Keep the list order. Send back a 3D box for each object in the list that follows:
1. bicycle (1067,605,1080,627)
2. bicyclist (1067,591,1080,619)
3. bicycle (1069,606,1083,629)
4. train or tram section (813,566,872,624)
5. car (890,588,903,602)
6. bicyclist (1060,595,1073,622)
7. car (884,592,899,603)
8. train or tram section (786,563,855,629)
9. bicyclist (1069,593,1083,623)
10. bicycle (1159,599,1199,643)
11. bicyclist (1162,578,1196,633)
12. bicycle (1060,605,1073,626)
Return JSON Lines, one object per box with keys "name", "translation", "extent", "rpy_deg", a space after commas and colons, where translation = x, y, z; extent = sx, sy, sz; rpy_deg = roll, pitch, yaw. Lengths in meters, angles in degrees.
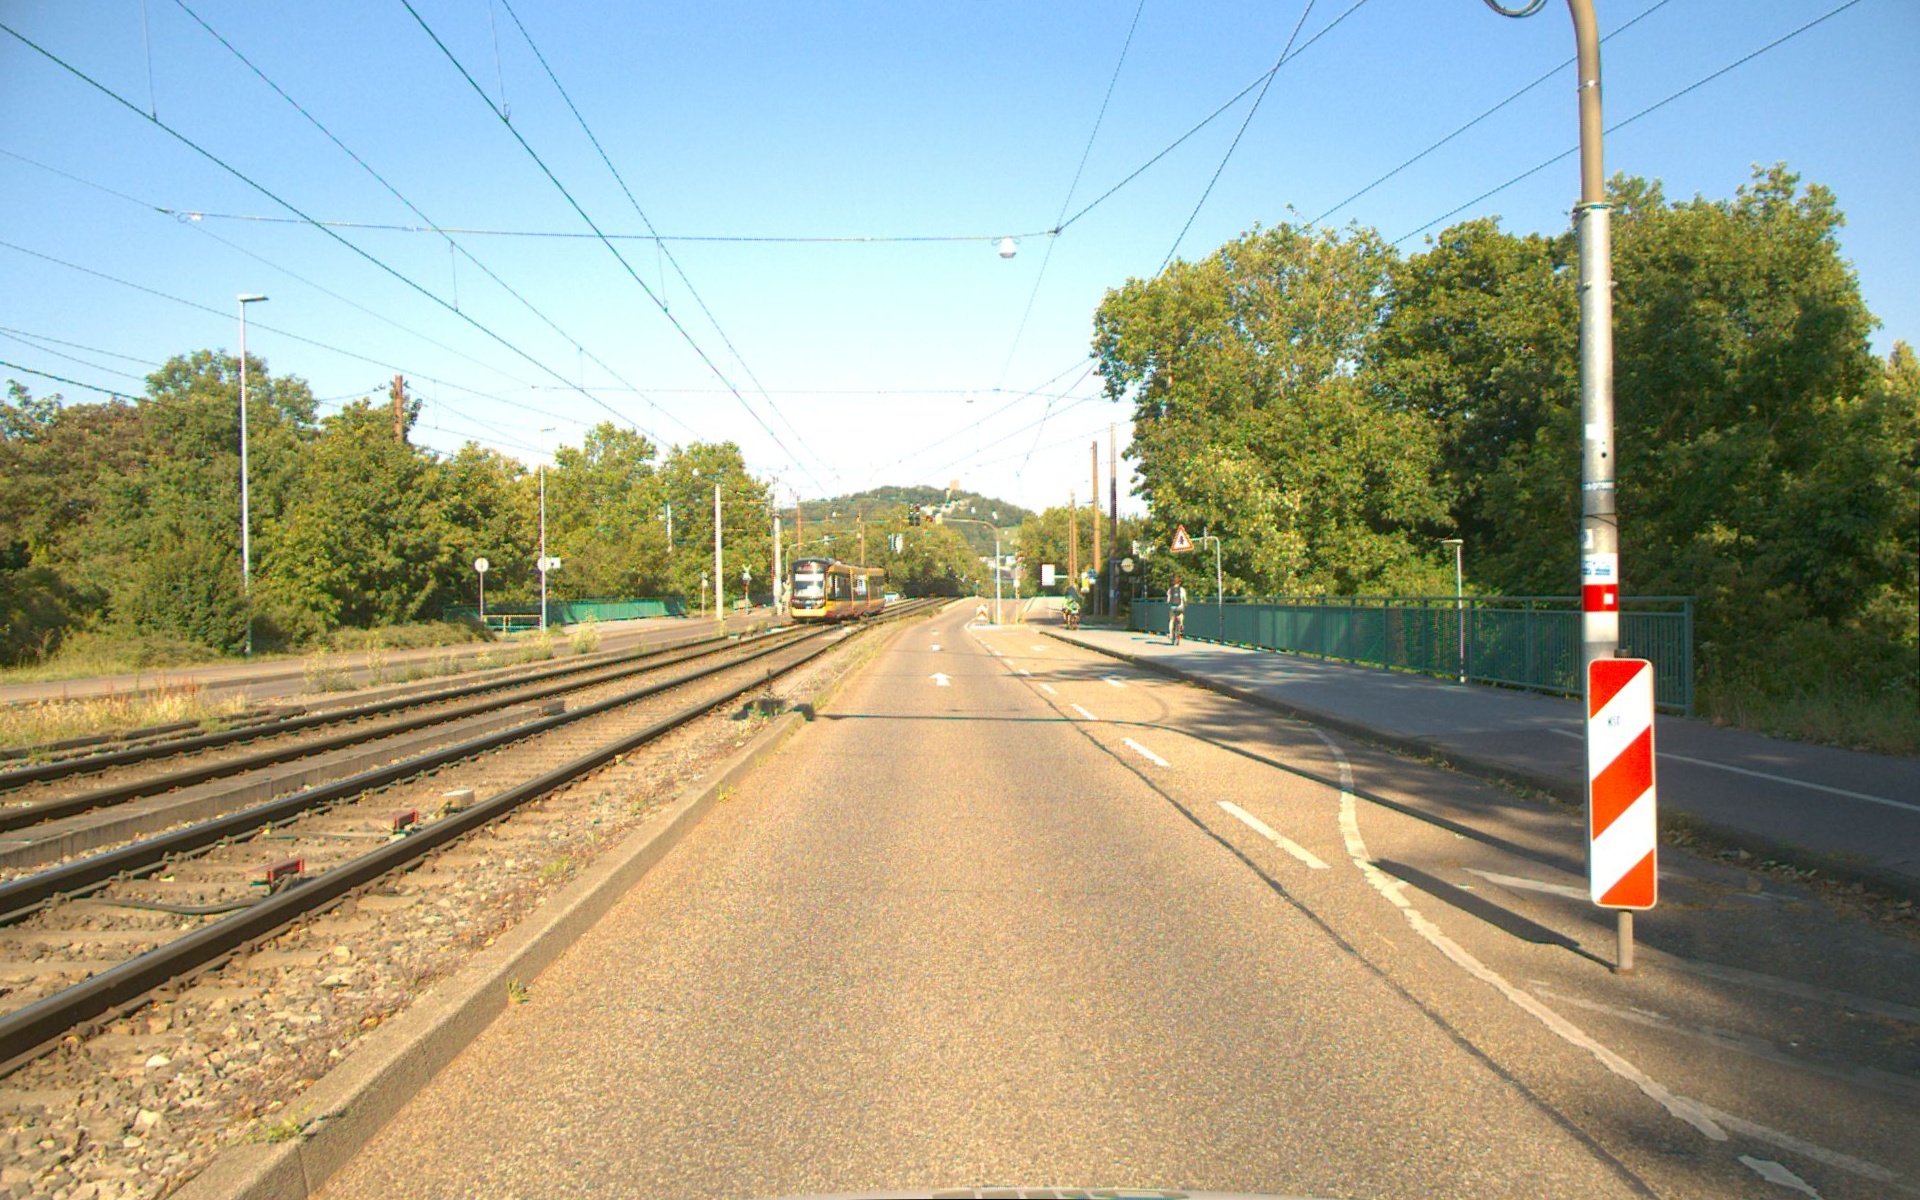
{"name": "bicycle", "translation": [5.766, 0.818, 84.047], "extent": [0.528, 1.060, 1.975], "rpy_deg": [0, 0, -1]}
{"name": "bicyclist", "translation": [5.774, 0.249, 84.115], "extent": [0.592, 1.403, 0.975], "rpy_deg": [0, 0, -1]}
{"name": "bicycle", "translation": [5.558, 0.815, 79.145], "extent": [0.504, 1.060, 1.975], "rpy_deg": [0, 0, -1]}
{"name": "train or tram section", "translation": [-7.471, -0.340, 106.563], "extent": [2.589, 3.537, 10.836], "rpy_deg": [0, 0, 3]}
{"name": "car", "translation": [-8.903, -0.703, 231.435], "extent": [1.752, 2.049, 3.999], "rpy_deg": [0, 0, -1]}
{"name": "bicyclist", "translation": [5.637, 0.425, 87.396], "extent": [0.592, 1.403, 0.975], "rpy_deg": [0, 0, -1]}
{"name": "car", "translation": [-9.052, -0.330, 219.617], "extent": [1.910, 1.512, 3.999], "rpy_deg": [0, 0, -1]}
{"name": "train or tram section", "translation": [-7.958, -0.249, 95.681], "extent": [2.589, 3.629, 10.836], "rpy_deg": [0, 0, 3]}
{"name": "bicyclist", "translation": [5.535, 0.369, 79.087], "extent": [0.592, 1.403, 0.975], "rpy_deg": [0, 0, -1]}
{"name": "bicycle", "translation": [6.196, 0.586, 46.851], "extent": [0.713, 1.196, 2.694], "rpy_deg": [-1, 0, -1]}
{"name": "bicyclist", "translation": [6.194, 0.148, 46.854], "extent": [0.807, 1.547, 0.975], "rpy_deg": [0, 0, -1]}
{"name": "bicycle", "translation": [5.642, 0.829, 87.356], "extent": [0.528, 1.060, 1.975], "rpy_deg": [0, 0, -1]}
